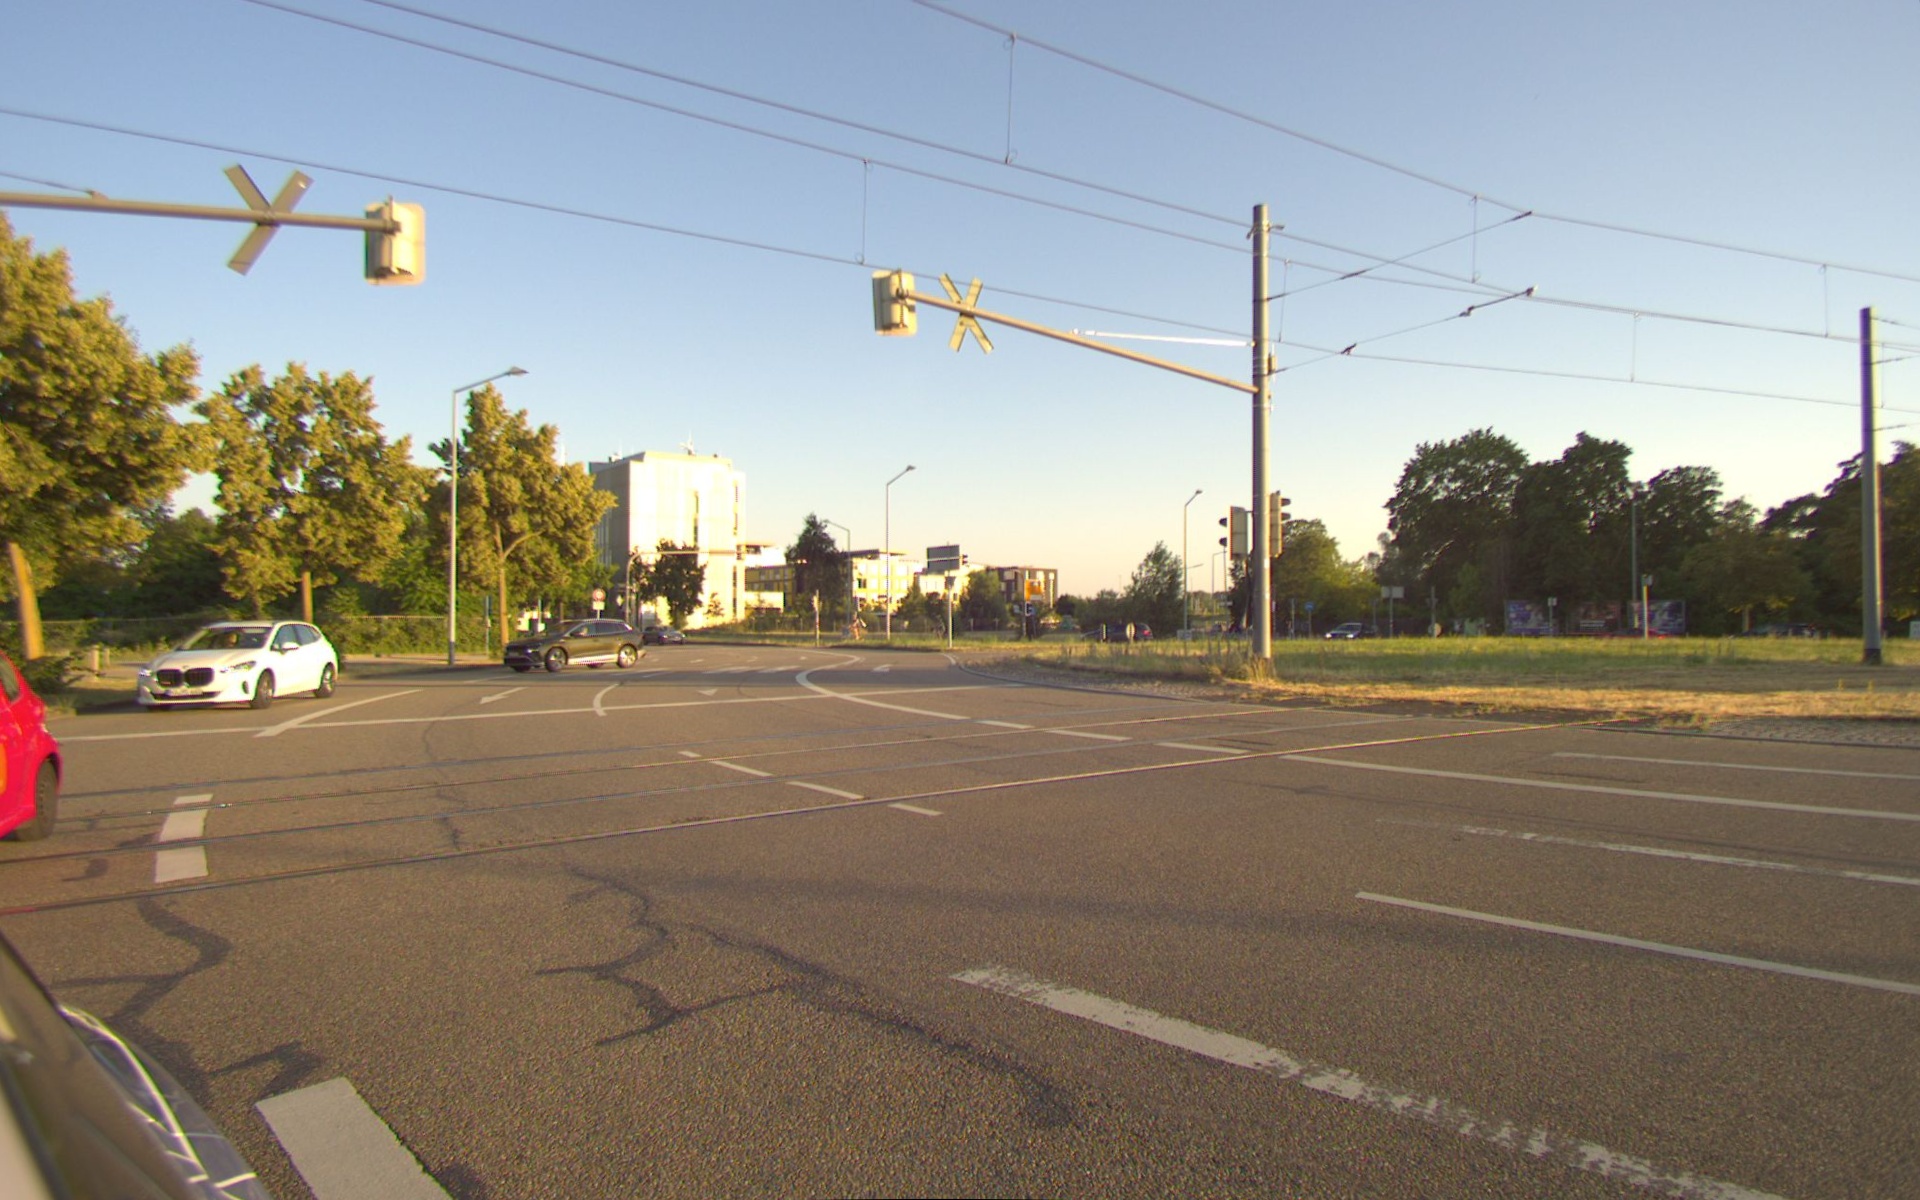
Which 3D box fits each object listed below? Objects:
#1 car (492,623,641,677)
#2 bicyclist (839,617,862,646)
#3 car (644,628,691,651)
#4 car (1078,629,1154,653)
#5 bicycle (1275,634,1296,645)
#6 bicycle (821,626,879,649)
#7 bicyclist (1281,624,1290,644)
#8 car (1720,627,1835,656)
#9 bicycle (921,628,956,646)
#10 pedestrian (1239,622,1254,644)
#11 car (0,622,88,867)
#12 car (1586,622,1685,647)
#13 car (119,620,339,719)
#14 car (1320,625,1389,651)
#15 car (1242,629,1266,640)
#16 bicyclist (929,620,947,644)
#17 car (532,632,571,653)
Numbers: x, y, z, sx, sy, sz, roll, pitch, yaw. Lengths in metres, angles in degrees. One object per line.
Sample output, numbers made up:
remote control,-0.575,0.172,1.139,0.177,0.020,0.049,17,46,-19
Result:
car,-12.389,1.540,32.096,1.822,1.570,4.169,-1,-2,31
bicyclist,-6.782,1.962,62.757,1.394,1.762,1.126,0,-1,-8
car,-21.274,2.840,73.509,1.843,1.637,4.201,1,-1,-39
car,9.554,2.505,61.900,4.368,1.443,1.932,-1,-2,19
bicycle,23.808,2.898,74.043,1.401,0.797,0.473,0,-2,5
bicycle,-6.822,2.306,62.733,3.483,1.406,1.126,0,-1,-8
bicyclist,23.814,2.494,74.041,0.442,1.408,0.473,0,-2,5
car,43.566,2.200,54.048,1.911,1.443,4.334,1,-2,-26
bicycle,-1.478,2.525,69.185,2.289,1.188,0.813,1,-2,-29
pedestrian,22.208,2.555,78.516,0.877,1.714,0.721,2,-3,-43
car,-6.353,0.862,5.512,1.666,1.432,4.224,-1,0,-30
car,40.565,2.074,60.877,1.911,1.443,4.610,1,-2,-25
car,-13.269,1.205,18.699,1.731,1.570,4.224,-1,-2,-12
car,23.872,2.291,61.223,4.184,1.512,1.846,1,-2,-35
car,39.457,4.596,135.822,1.918,1.443,4.401,0,-2,1
bicyclist,-1.519,2.162,69.179,0.983,1.645,0.813,1,-2,-29
car,-34.002,3.524,84.140,1.843,1.637,4.200,1,-1,-40
